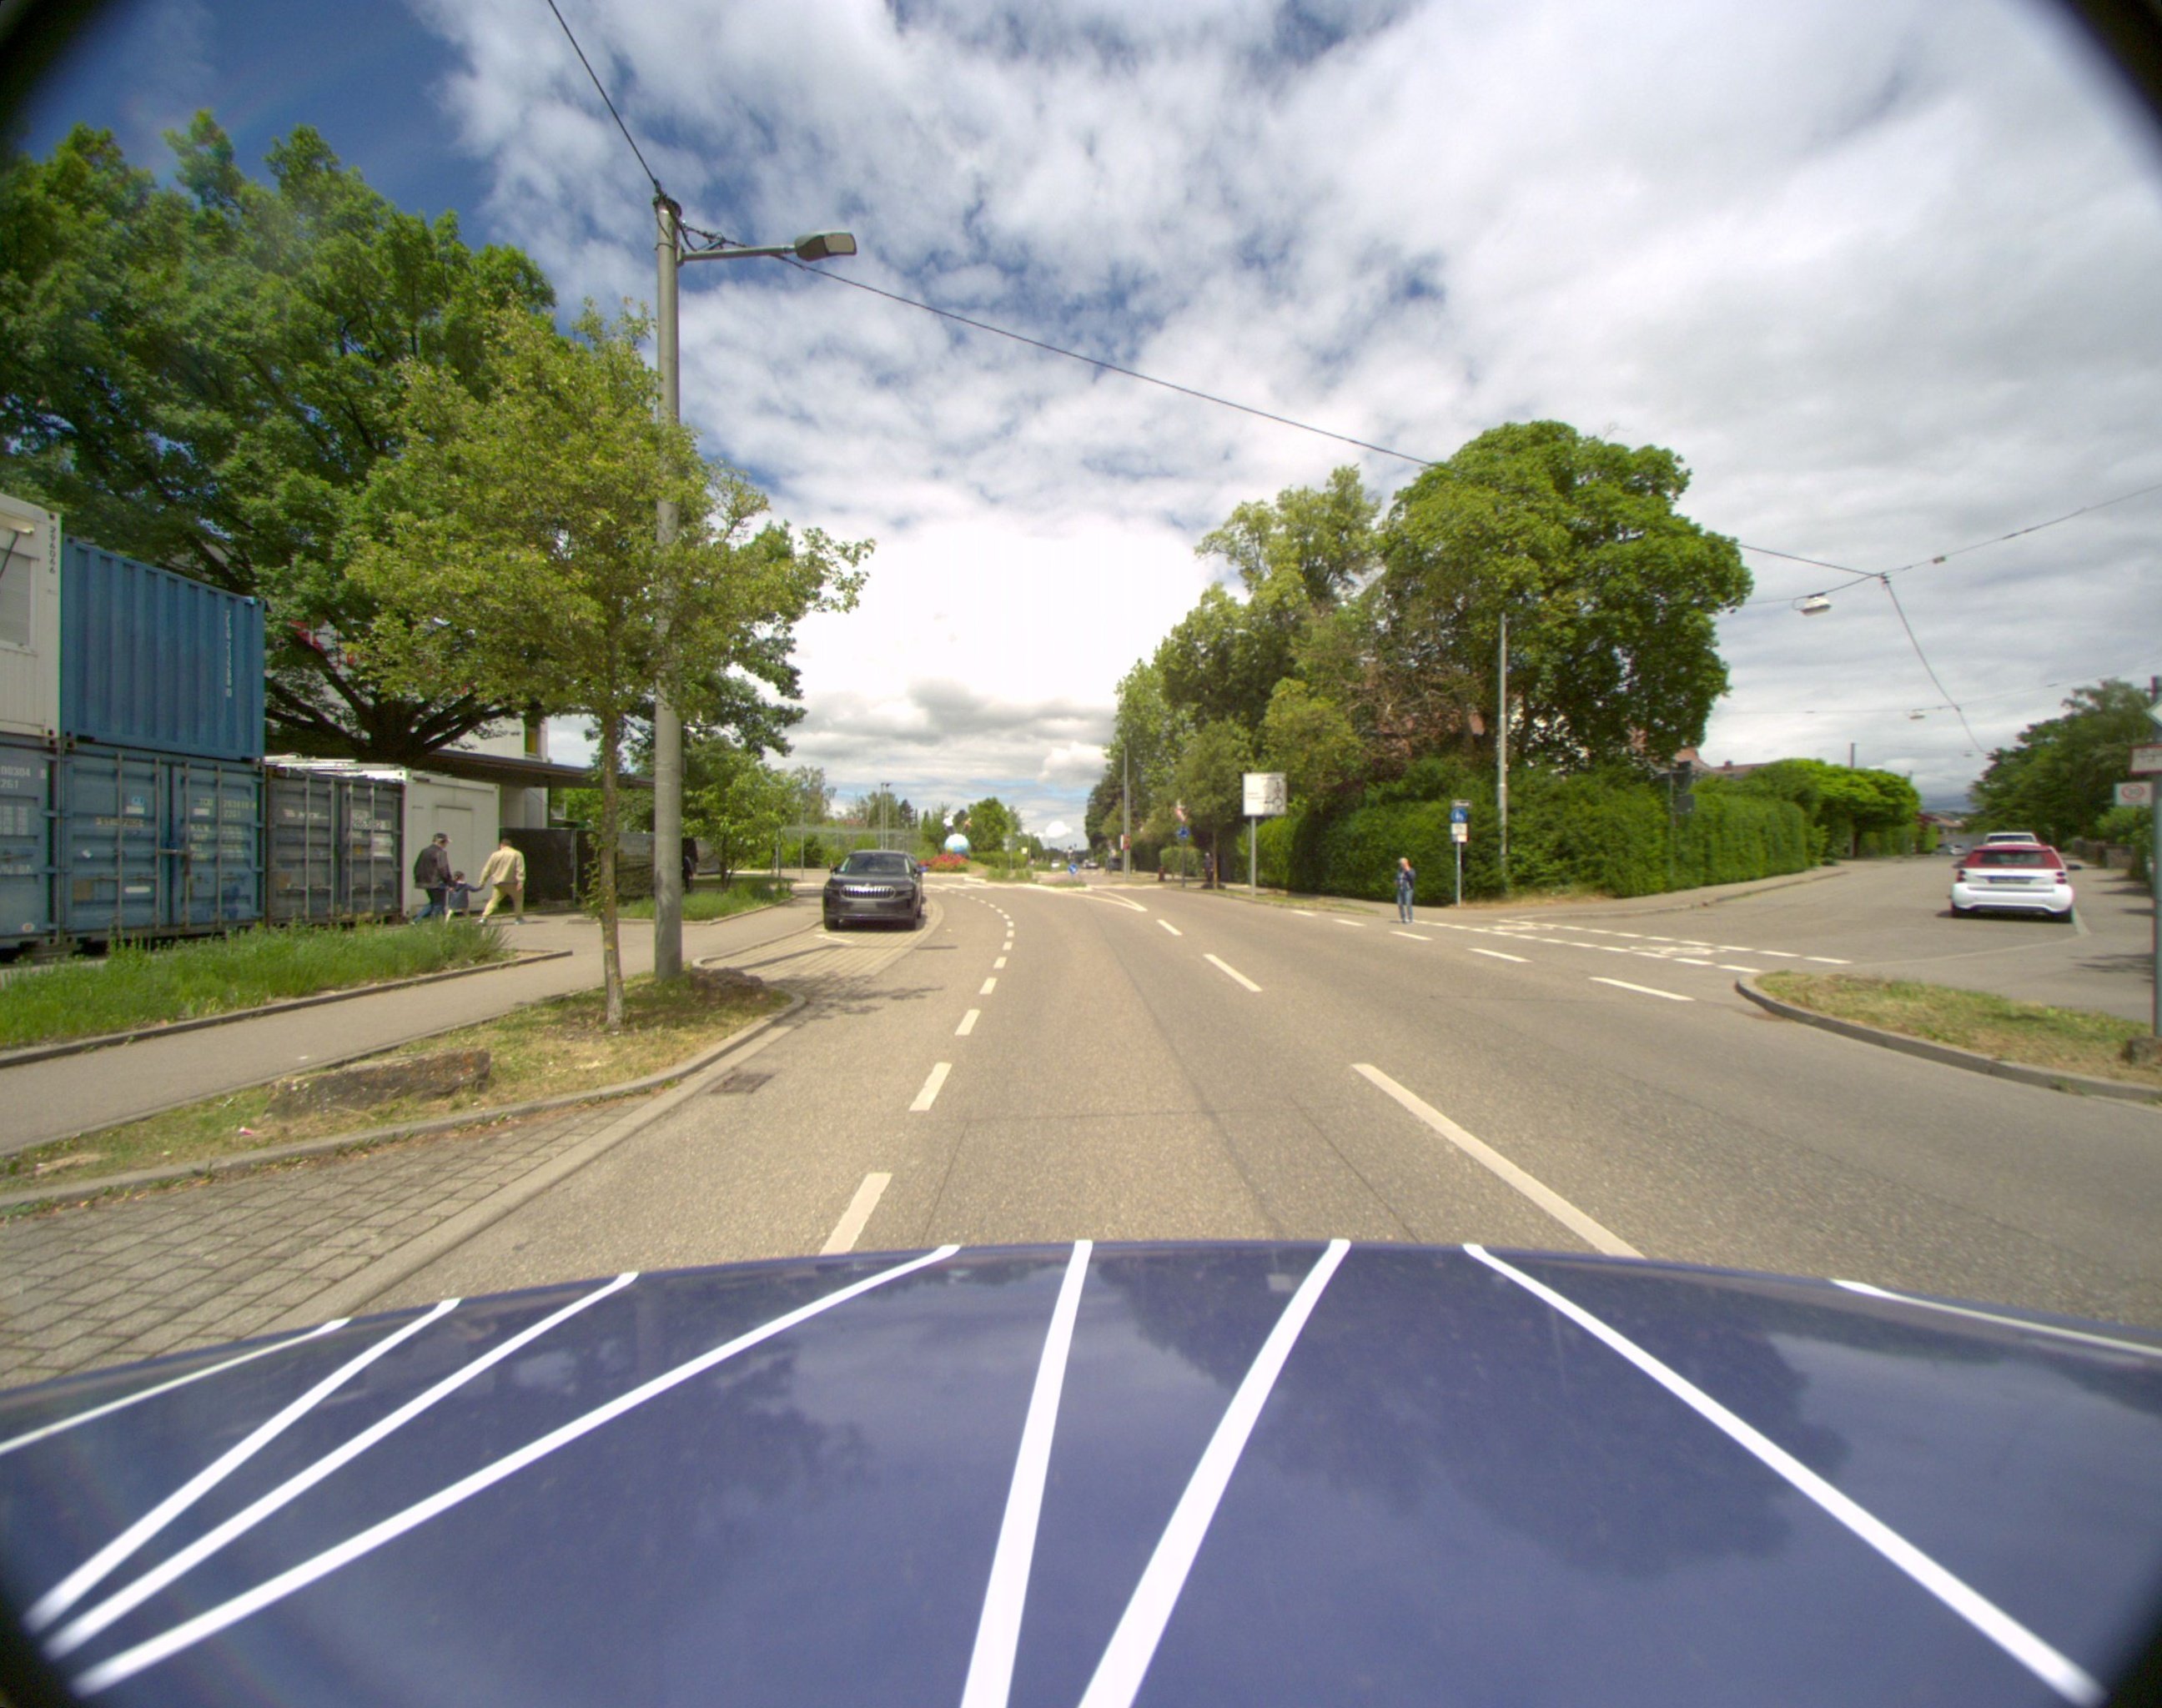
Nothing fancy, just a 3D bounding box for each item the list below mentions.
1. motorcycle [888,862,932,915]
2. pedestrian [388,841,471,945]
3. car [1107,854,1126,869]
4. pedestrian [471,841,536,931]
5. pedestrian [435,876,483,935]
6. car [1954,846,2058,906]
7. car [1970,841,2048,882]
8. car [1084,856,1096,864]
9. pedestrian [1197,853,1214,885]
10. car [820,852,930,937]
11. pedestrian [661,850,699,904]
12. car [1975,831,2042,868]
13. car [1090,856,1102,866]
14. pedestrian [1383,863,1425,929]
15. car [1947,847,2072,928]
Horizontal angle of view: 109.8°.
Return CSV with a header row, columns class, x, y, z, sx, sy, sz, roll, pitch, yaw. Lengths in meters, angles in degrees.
class,x,y,z,sx,sy,sz,roll,pitch,yaw
motorcycle,-4.676,0.916,20.948,1.075,1.298,2.258,3,0,-11
pedestrian,-11.003,0.635,12.862,0.653,1.687,0.844,0,1,-2
car,4.077,0.873,88.678,1.681,1.652,3.997,1,0,-5
pedestrian,-11.030,0.593,14.531,0.652,1.686,0.724,0,1,-2
pedestrian,-11.574,0.944,14.143,0.412,1.052,0.567,0,1,-2
car,25.294,0.535,20.778,3.541,1.447,1.711,-2,1,-38
car,34.576,0.232,28.383,4.288,1.397,1.701,-2,1,-41
car,1.854,1.295,158.845,2.000,1.696,3.998,1,0,-6
pedestrian,6.484,0.775,39.673,0.745,1.681,0.694,0,1,0
car,-4.463,0.787,17.157,1.885,1.612,4.842,1,0,-9
pedestrian,-12.114,0.674,22.956,0.744,1.608,0.767,0,1,-2
car,48.780,-0.250,39.956,4.007,1.860,1.960,-1,1,-36
car,2.512,1.143,127.995,1.862,1.568,3.999,0,1,-1
pedestrian,7.534,0.961,17.739,0.732,1.500,0.626,-1,1,-37
car,19.885,0.645,16.258,2.783,1.547,1.585,-2,1,-37
